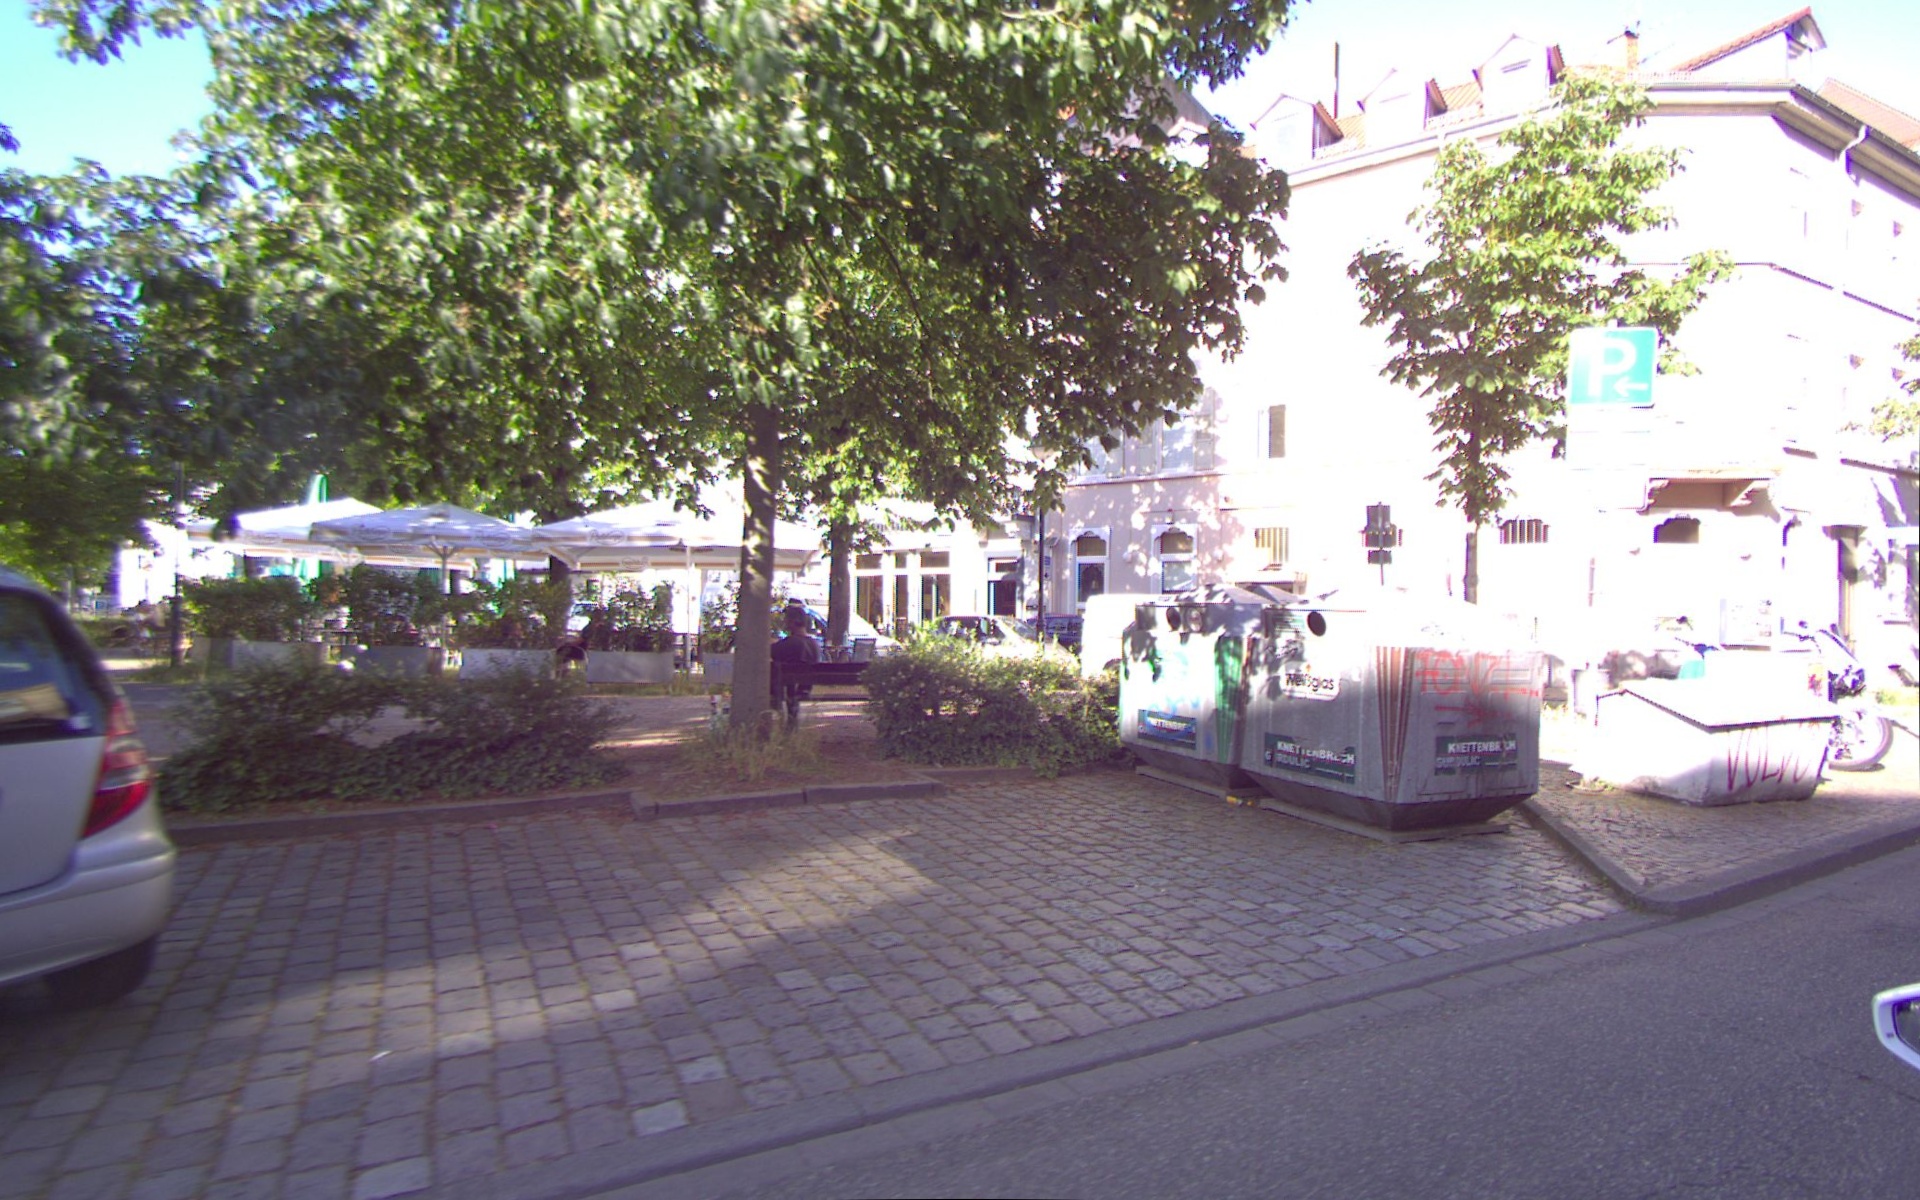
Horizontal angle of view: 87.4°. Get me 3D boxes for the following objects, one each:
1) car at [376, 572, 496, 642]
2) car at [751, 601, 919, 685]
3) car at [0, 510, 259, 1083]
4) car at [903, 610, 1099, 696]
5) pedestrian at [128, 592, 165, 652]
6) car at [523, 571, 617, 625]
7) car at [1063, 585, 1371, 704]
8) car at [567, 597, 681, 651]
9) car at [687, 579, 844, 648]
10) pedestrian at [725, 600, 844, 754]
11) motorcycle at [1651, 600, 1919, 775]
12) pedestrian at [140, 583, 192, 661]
[{"bbox_3d":[-19.756,0.233,37.765,5.270,2.345,1.992,3,0,39],"label":"car"},{"bbox_3d":[-3.147,1.009,24.965,3.859,1.794,1.973,3,0,39],"label":"car"},{"bbox_3d":[-4.509,0.462,3.536,3.928,1.607,1.828,3,0,30],"label":"car"},{"bbox_3d":[0.863,1.107,22.170,3.859,1.585,1.973,3,0,39],"label":"car"},{"bbox_3d":[-17.542,0.475,21.672,0.553,1.253,0.666,2,0,-36],"label":"pedestrian"},{"bbox_3d":[-17.136,-0.131,44.011,4.763,2.039,1.545,3,-4,40],"label":"car"},{"bbox_3d":[4.790,0.748,19.095,5.193,1.824,2.157,3,0,35],"label":"car"},{"bbox_3d":[-13.063,0.899,38.904,4.798,1.828,1.901,3,0,40],"label":"car"},{"bbox_3d":[-6.618,0.415,33.852,5.501,2.040,1.812,3,0,35],"label":"car"},{"bbox_3d":[-1.574,0.660,9.013,0.778,1.283,0.658,3,0,38],"label":"pedestrian"},{"bbox_3d":[8.790,0.852,10.632,0.982,1.625,2.476,1,-1,-10],"label":"motorcycle"},{"bbox_3d":[-16.446,0.449,20.806,0.548,1.567,0.672,2,0,-12],"label":"pedestrian"}]
